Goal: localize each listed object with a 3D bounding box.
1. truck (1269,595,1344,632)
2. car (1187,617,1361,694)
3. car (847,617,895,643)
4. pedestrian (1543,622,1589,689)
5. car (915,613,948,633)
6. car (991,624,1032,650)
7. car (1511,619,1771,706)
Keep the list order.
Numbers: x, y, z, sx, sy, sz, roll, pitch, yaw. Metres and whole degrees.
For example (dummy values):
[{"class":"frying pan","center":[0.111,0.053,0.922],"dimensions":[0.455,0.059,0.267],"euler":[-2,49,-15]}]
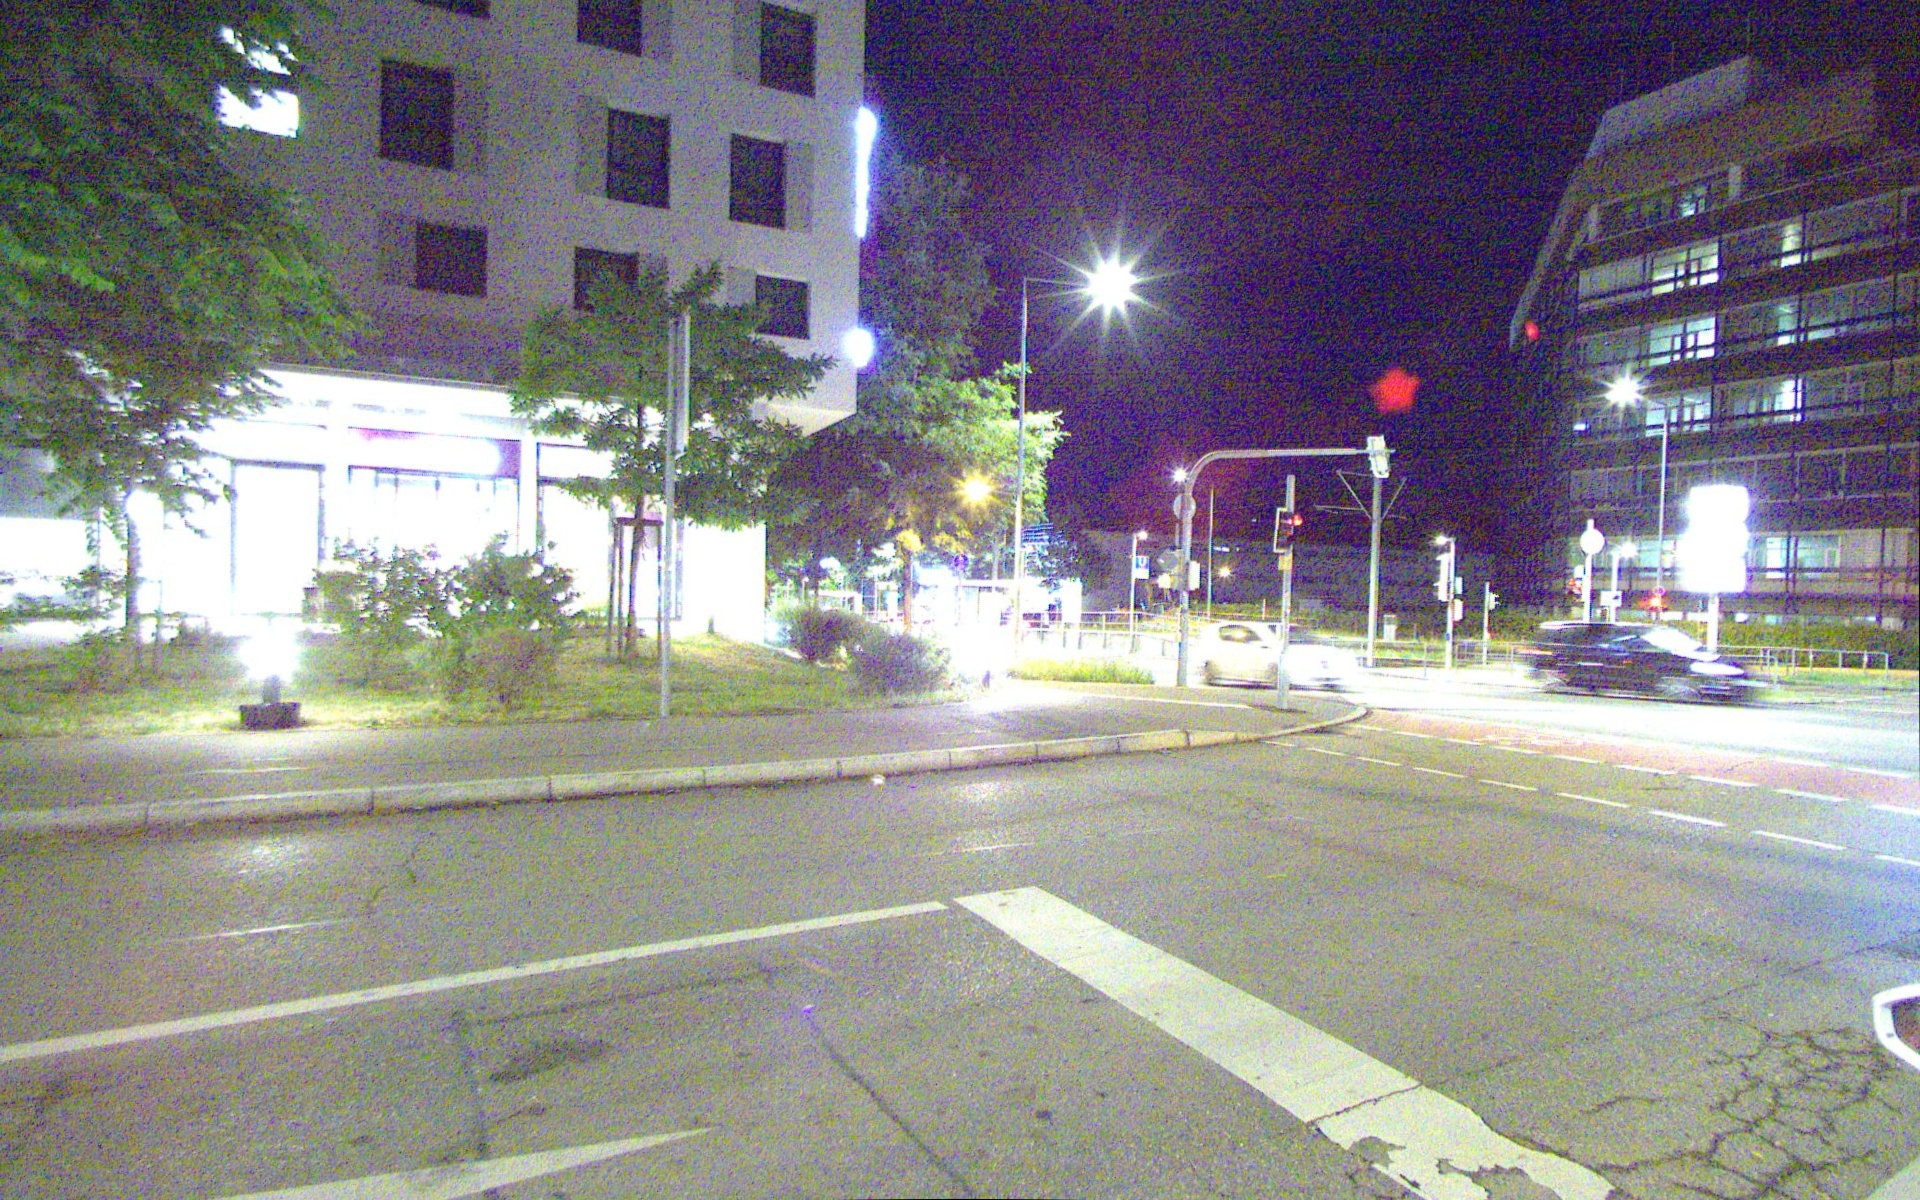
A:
[{"class":"truck","center":[30.852,1.171,89.635],"dimensions":[2.877,3.129,5.873],"euler":[2,0,-28]},{"class":"car","center":[7.397,1.271,24.055],"dimensions":[1.786,1.684,3.975],"euler":[2,-2,-25]},{"class":"car","center":[-5.541,1.810,62.078],"dimensions":[1.793,1.522,4.177],"euler":[0,-1,-23]},{"class":"pedestrian","center":[15.449,1.405,25.605],"dimensions":[0.854,1.656,0.665],"euler":[2,0,-34]},{"class":"car","center":[-3.052,2.448,107.114],"dimensions":[1.976,2.040,3.971],"euler":[2,-3,-29]},{"class":"car","center":[4.194,3.050,82.845],"dimensions":[1.970,2.040,3.982],"euler":[2,-3,-20]},{"class":"car","center":[14.751,1.279,22.053],"dimensions":[1.839,1.681,4.431],"euler":[2,-1,-26]}]
